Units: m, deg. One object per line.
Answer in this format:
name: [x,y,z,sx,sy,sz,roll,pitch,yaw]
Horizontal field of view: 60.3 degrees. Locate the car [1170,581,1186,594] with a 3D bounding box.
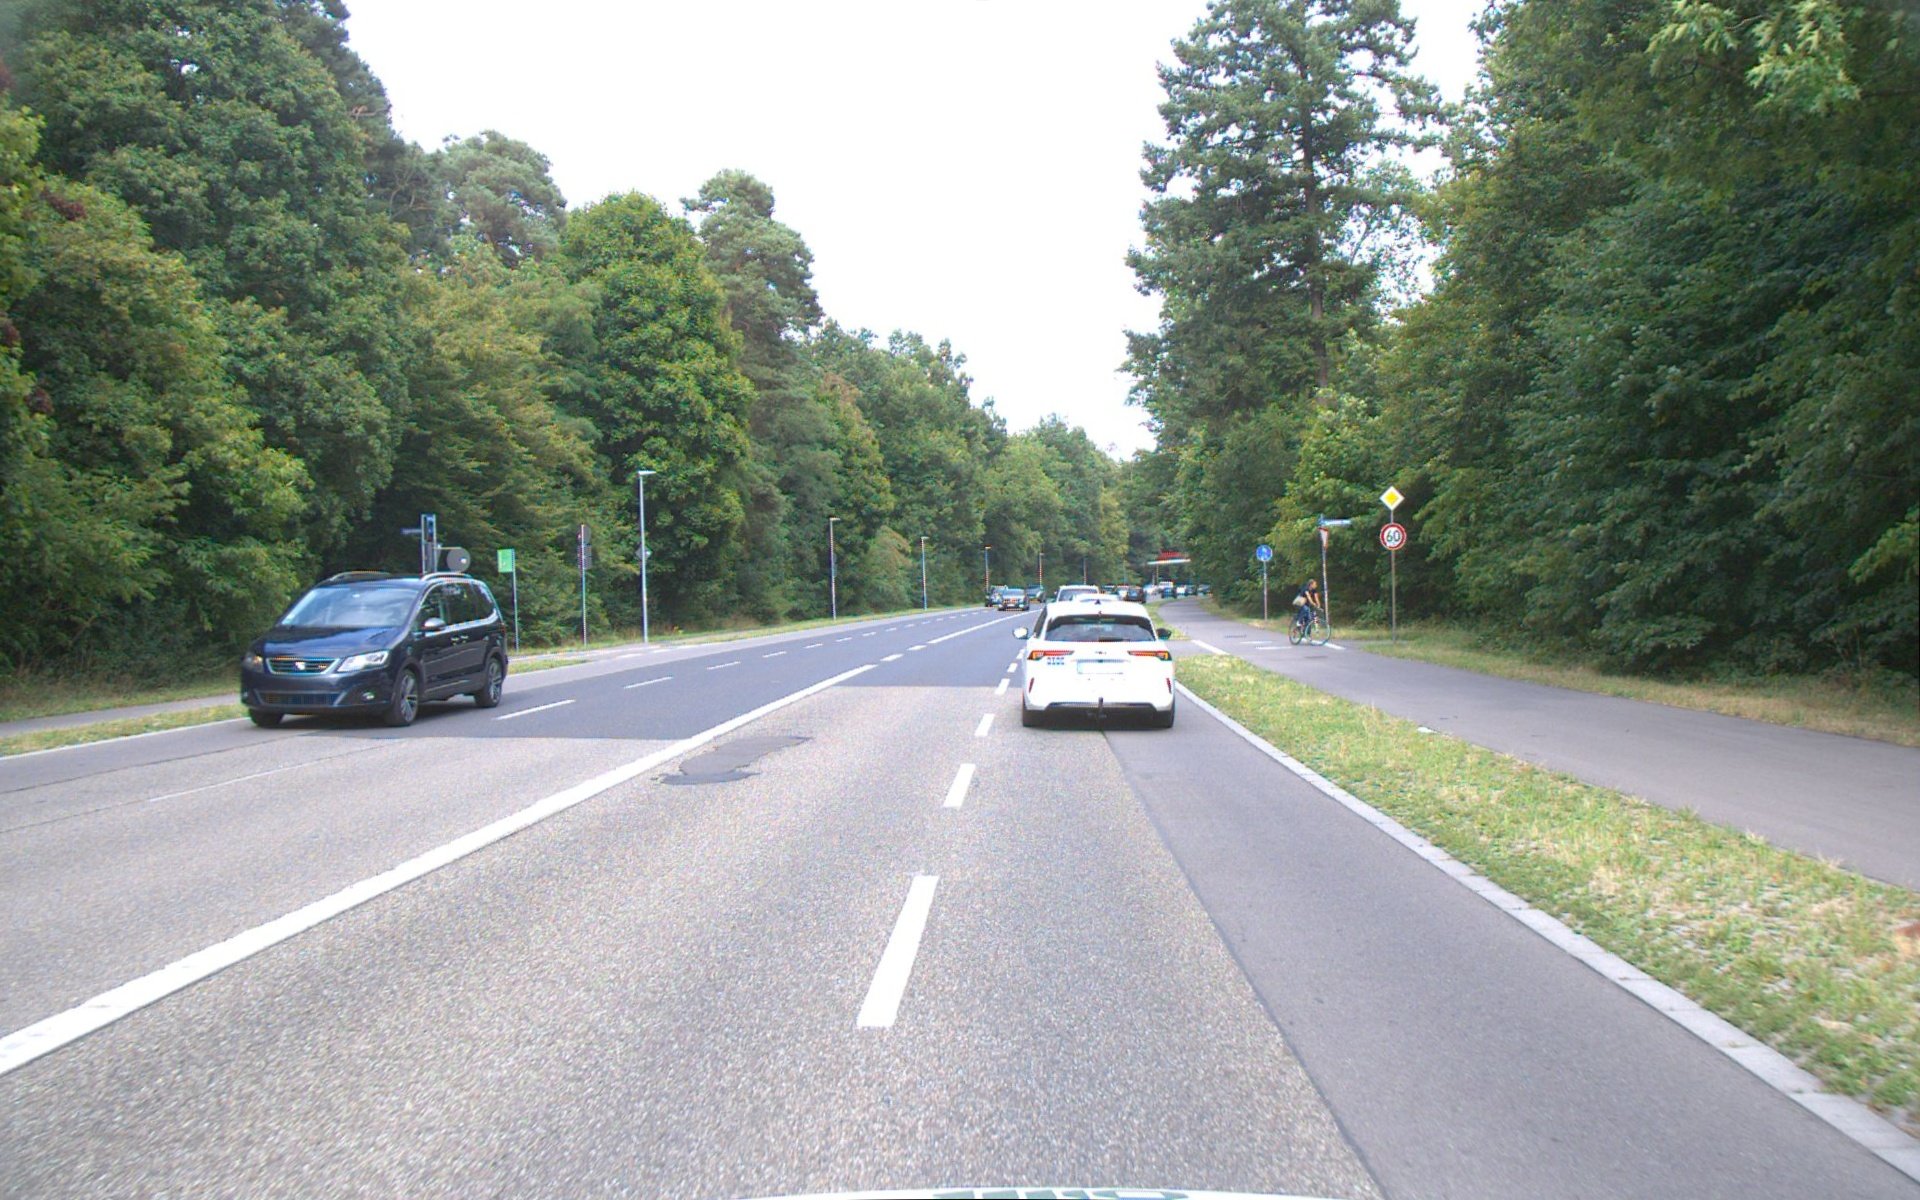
car: [32.715,-1.804,248.448,1.848,1.847,4.003,1,0,14]

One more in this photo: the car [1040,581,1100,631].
car: [3.824,0.223,57.042,1.951,1.635,4.002,1,0,5]

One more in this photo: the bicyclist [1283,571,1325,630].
bicyclist: [8.818,0.018,42.408,0.698,1.496,0.896,-1,0,-19]

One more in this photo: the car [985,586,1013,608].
car: [3.102,-0.227,129.637,1.882,1.684,4.472,0,-1,5]

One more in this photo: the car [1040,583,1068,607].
car: [6.583,-0.322,115.337,1.693,1.615,4.003,1,0,7]

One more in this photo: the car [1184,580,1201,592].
car: [32.755,-1.985,232.951,1.951,1.735,4.004,-1,0,12]

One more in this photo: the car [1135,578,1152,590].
car: [28.385,-2.457,255.424,1.951,1.590,4.607,1,0,14]

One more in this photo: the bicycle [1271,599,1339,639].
bicycle: [8.831,0.475,42.421,0.698,1.011,2.170,-1,0,-18]

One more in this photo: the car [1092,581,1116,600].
car: [14.188,-0.933,163.166,1.951,1.814,4.003,1,0,10]

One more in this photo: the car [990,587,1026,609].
car: [3.254,-0.109,110.491,1.951,1.460,4.724,0,-1,7]

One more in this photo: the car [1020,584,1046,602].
car: [6.963,-0.644,157.495,1.951,1.645,4.667,1,0,9]

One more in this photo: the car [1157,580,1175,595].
car: [25.306,-1.511,203.111,1.951,1.814,4.003,1,0,11]

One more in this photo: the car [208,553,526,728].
car: [-6.990,0.452,20.125,1.952,1.822,4.749,-2,-1,2]

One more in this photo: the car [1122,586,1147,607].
car: [16.393,-0.331,155.232,1.951,1.814,4.003,1,0,10]

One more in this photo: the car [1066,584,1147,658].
car: [3.126,0.438,35.333,1.601,1.445,4.002,1,0,5]

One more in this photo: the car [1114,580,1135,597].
car: [17.978,-1.236,180.520,1.951,1.814,4.003,1,0,11]

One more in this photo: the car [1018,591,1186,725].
car: [1.676,0.629,20.120,1.798,1.435,4.493,0,0,4]
